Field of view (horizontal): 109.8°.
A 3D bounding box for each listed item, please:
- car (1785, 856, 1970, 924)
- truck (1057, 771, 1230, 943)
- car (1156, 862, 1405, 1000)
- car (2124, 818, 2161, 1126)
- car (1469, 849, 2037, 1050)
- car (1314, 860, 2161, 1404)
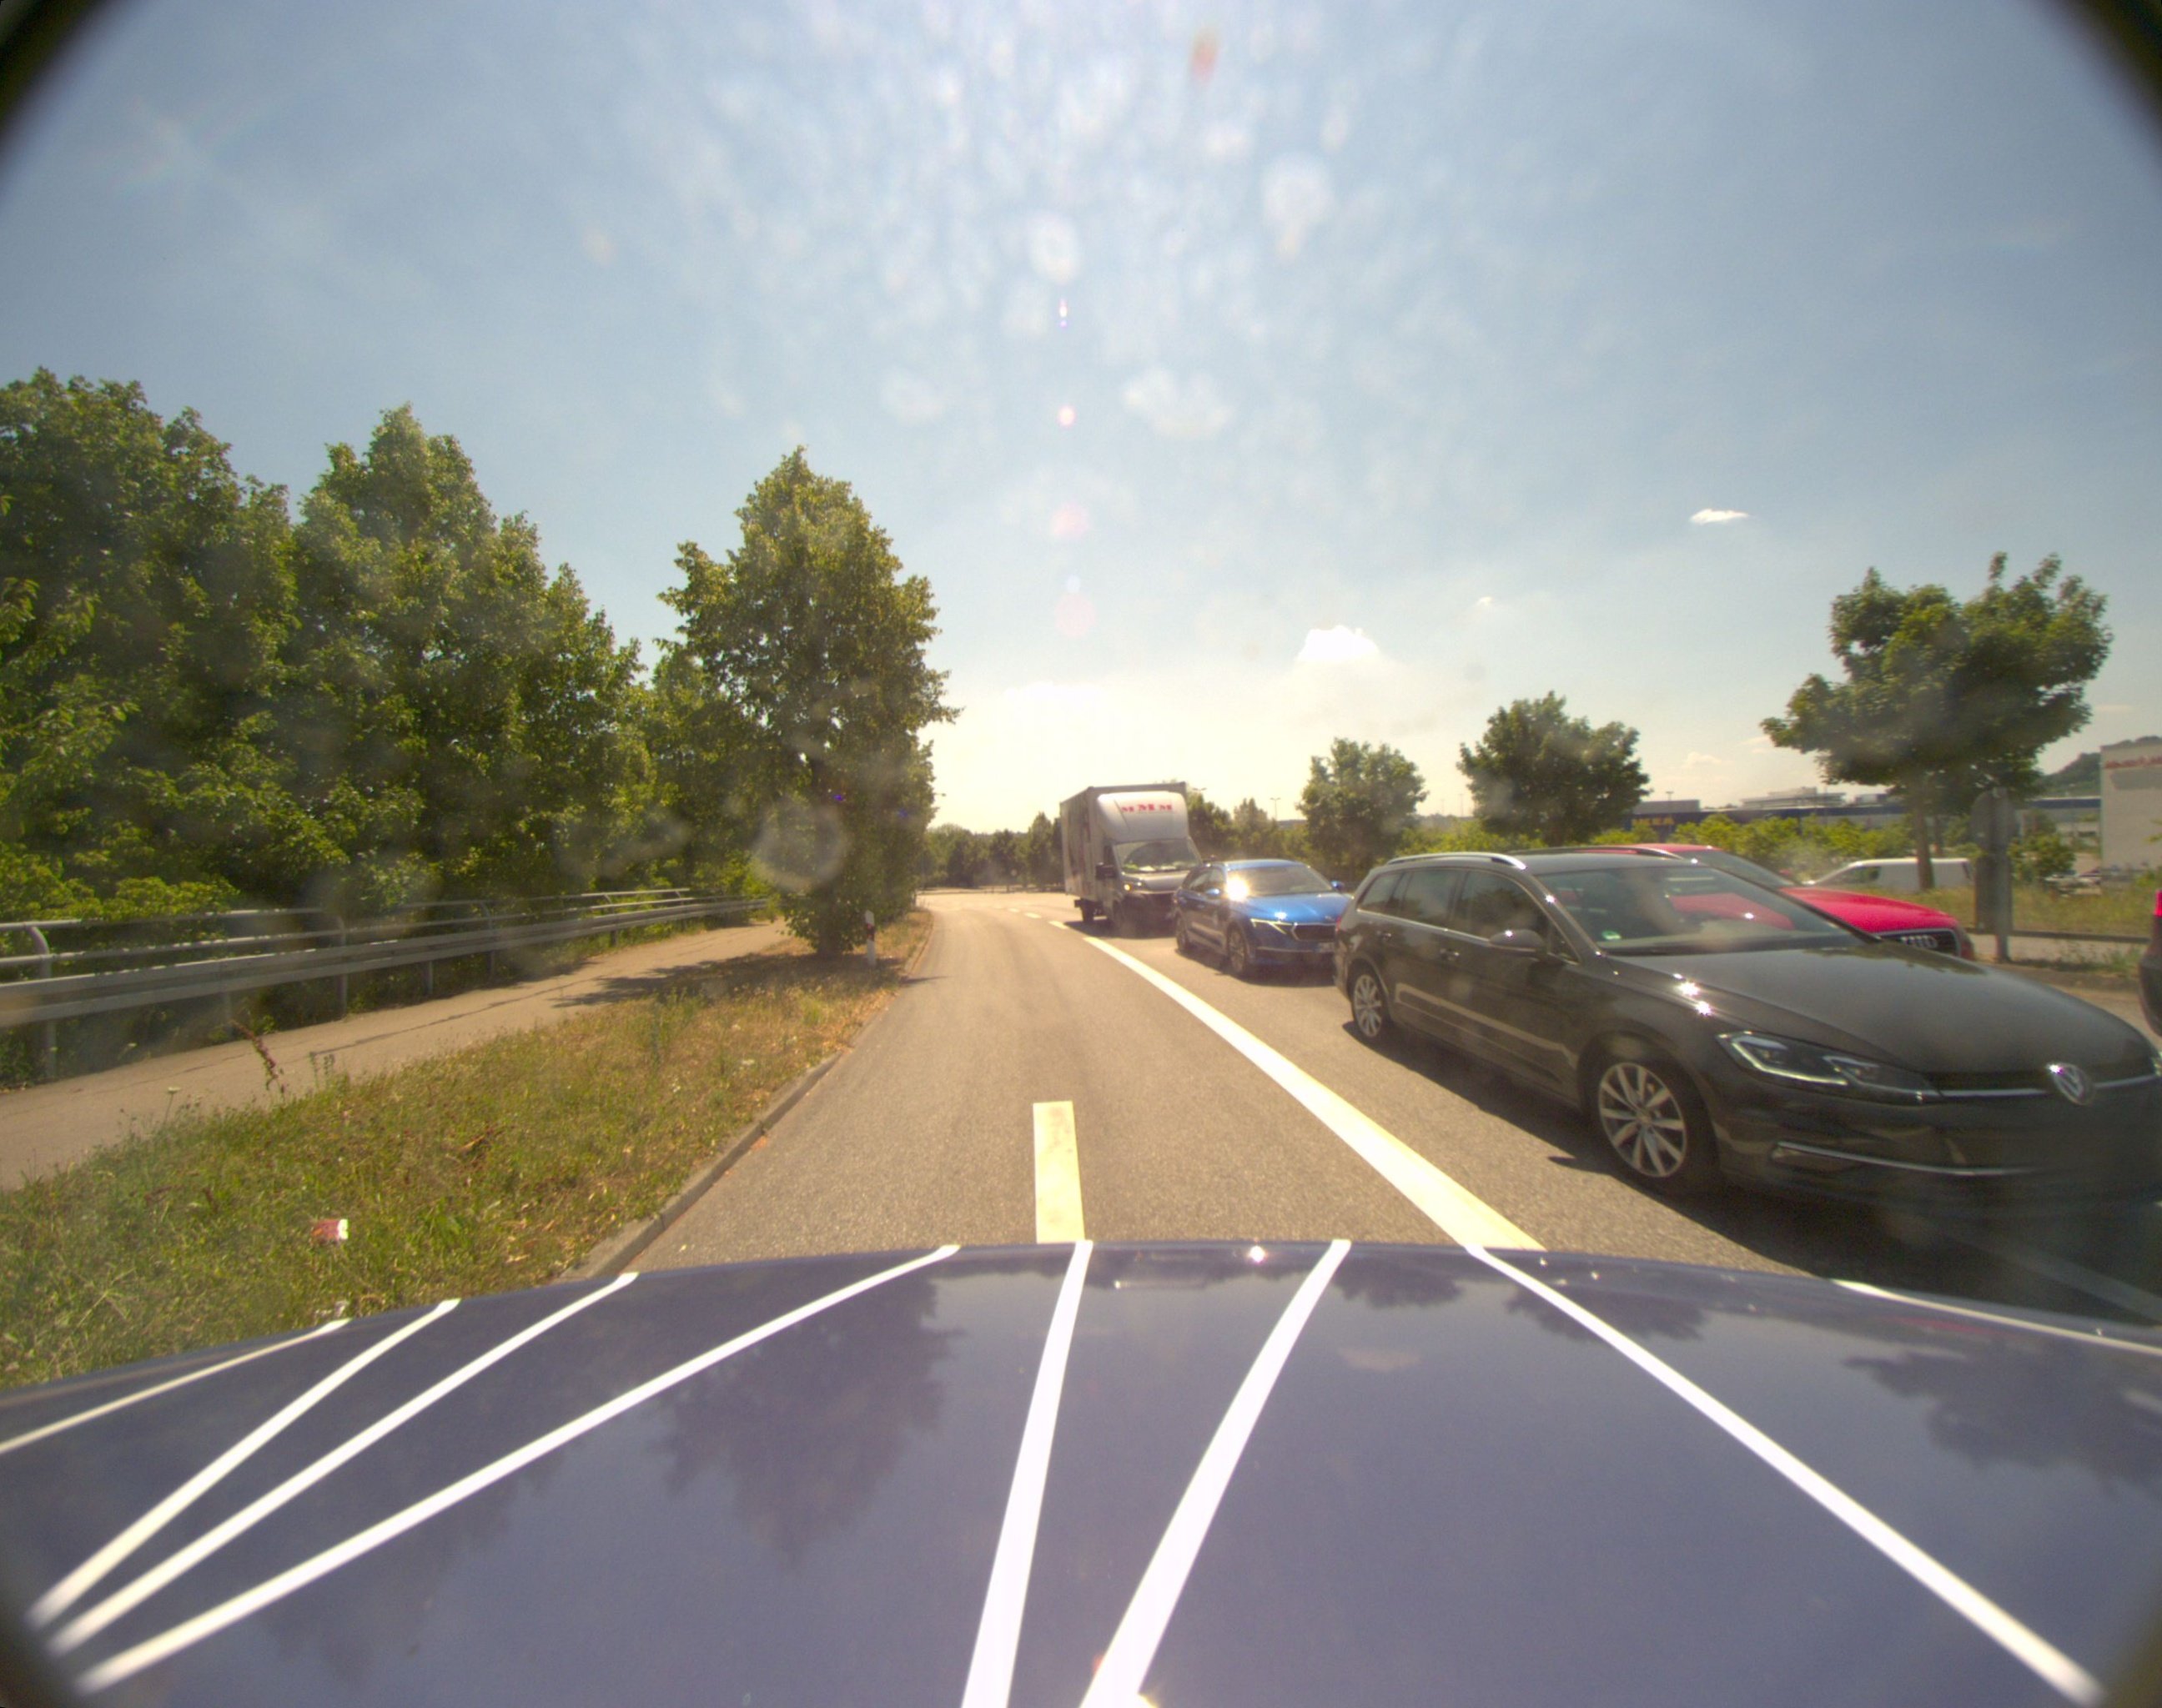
[{"bbox_3d":[25.681,1.101,24.595,2.004,1.949,3.989,-2,1,-40],"label":"car"},{"bbox_3d":[1.150,0.133,18.612,2.416,3.327,7.198,-2,-1,-9],"label":"truck"},{"bbox_3d":[2.497,0.902,10.805,1.713,1.454,4.486,-3,-1,-9],"label":"car"},{"bbox_3d":[6.687,0.590,1.885,1.880,1.591,4.503,-2,1,-5],"label":"car"},{"bbox_3d":[6.134,0.688,7.841,1.665,1.380,4.447,-3,1,-5],"label":"car"},{"bbox_3d":[3.097,0.829,4.474,1.783,1.474,4.427,-2,0,-4],"label":"car"}]
